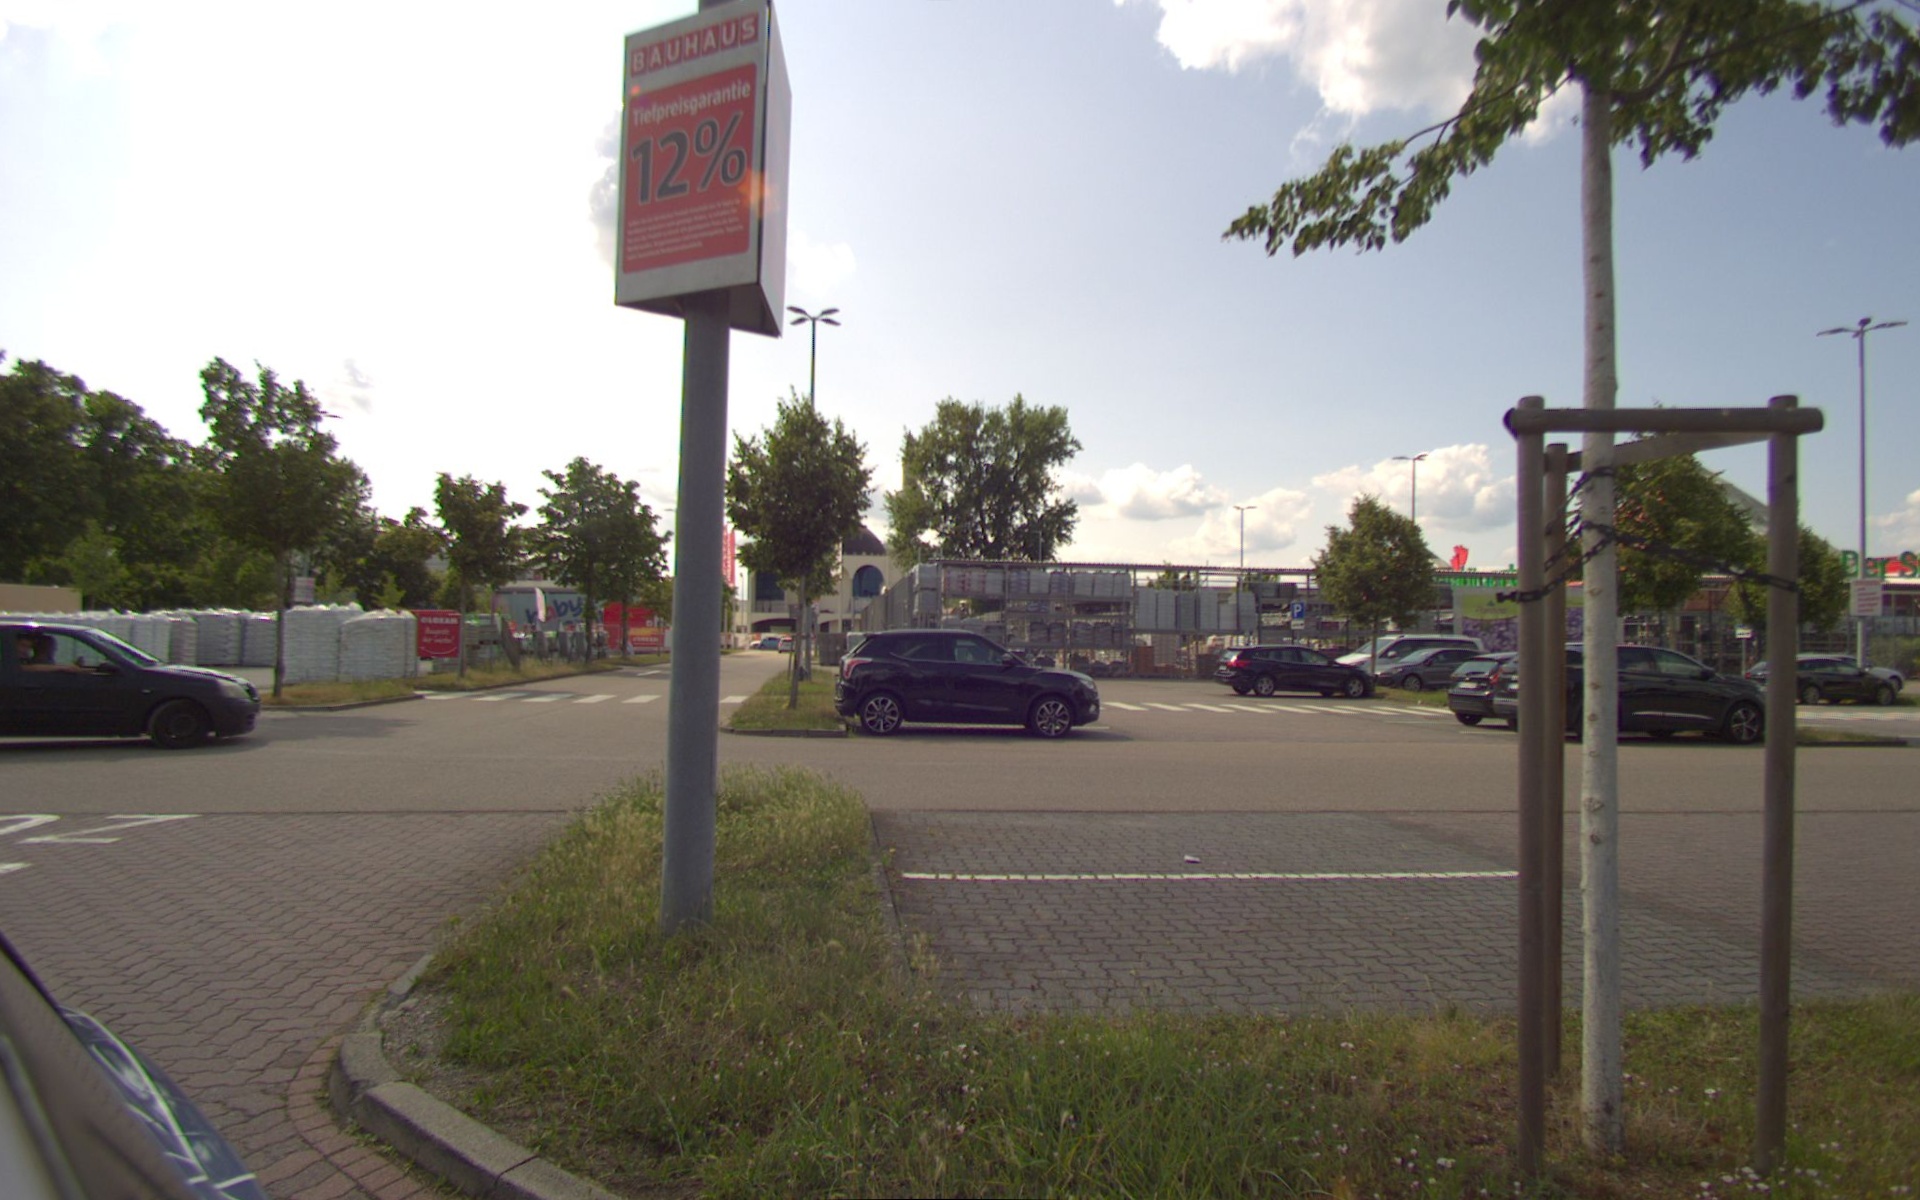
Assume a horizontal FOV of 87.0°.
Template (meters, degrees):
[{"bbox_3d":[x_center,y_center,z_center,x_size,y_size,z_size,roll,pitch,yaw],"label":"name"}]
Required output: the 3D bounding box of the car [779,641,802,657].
[{"bbox_3d":[-15.960,4.642,95.562,1.782,1.476,4.333,1,-2,-5],"label":"car"}]

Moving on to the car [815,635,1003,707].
[{"bbox_3d":[-1.091,1.436,20.769,3.704,1.378,1.623,1,-3,-7],"label":"car"}]

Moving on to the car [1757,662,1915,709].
[{"bbox_3d":[26.552,2.578,30.791,3.237,1.229,1.540,2,-4,14],"label":"car"}]

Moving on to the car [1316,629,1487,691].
[{"bbox_3d":[15.242,2.077,35.089,5.106,2.029,2.003,1,-2,-7],"label":"car"}]

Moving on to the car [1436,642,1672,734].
[{"bbox_3d":[11.361,1.655,19.461,3.645,1.637,1.788,1,-2,-12],"label":"car"}]

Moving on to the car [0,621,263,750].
[{"bbox_3d":[-10.094,0.910,11.238,3.722,1.331,1.617,2,-3,-30],"label":"car"}]

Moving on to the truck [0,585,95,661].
[{"bbox_3d":[-47.190,1.124,49.418,2.688,3.626,9.047,1,-3,-6],"label":"truck"}]

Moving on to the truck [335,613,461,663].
[{"bbox_3d":[-29.833,2.032,53.895,5.357,2.534,2.121,1,-3,-9],"label":"truck"}]

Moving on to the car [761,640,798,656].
[{"bbox_3d":[-20.028,5.318,112.421,3.940,1.636,1.781,1,1,-4],"label":"car"}]

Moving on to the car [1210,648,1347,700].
[{"bbox_3d":[9.197,2.127,29.379,3.301,1.415,1.815,1,-2,-10],"label":"car"}]

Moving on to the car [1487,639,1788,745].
[{"bbox_3d":[11.243,1.501,16.933,4.018,1.637,1.787,1,-2,-10],"label":"car"}]

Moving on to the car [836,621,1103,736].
[{"bbox_3d":[0.086,1.188,15.671,3.903,1.637,1.738,1,-2,-5],"label":"car"}]
